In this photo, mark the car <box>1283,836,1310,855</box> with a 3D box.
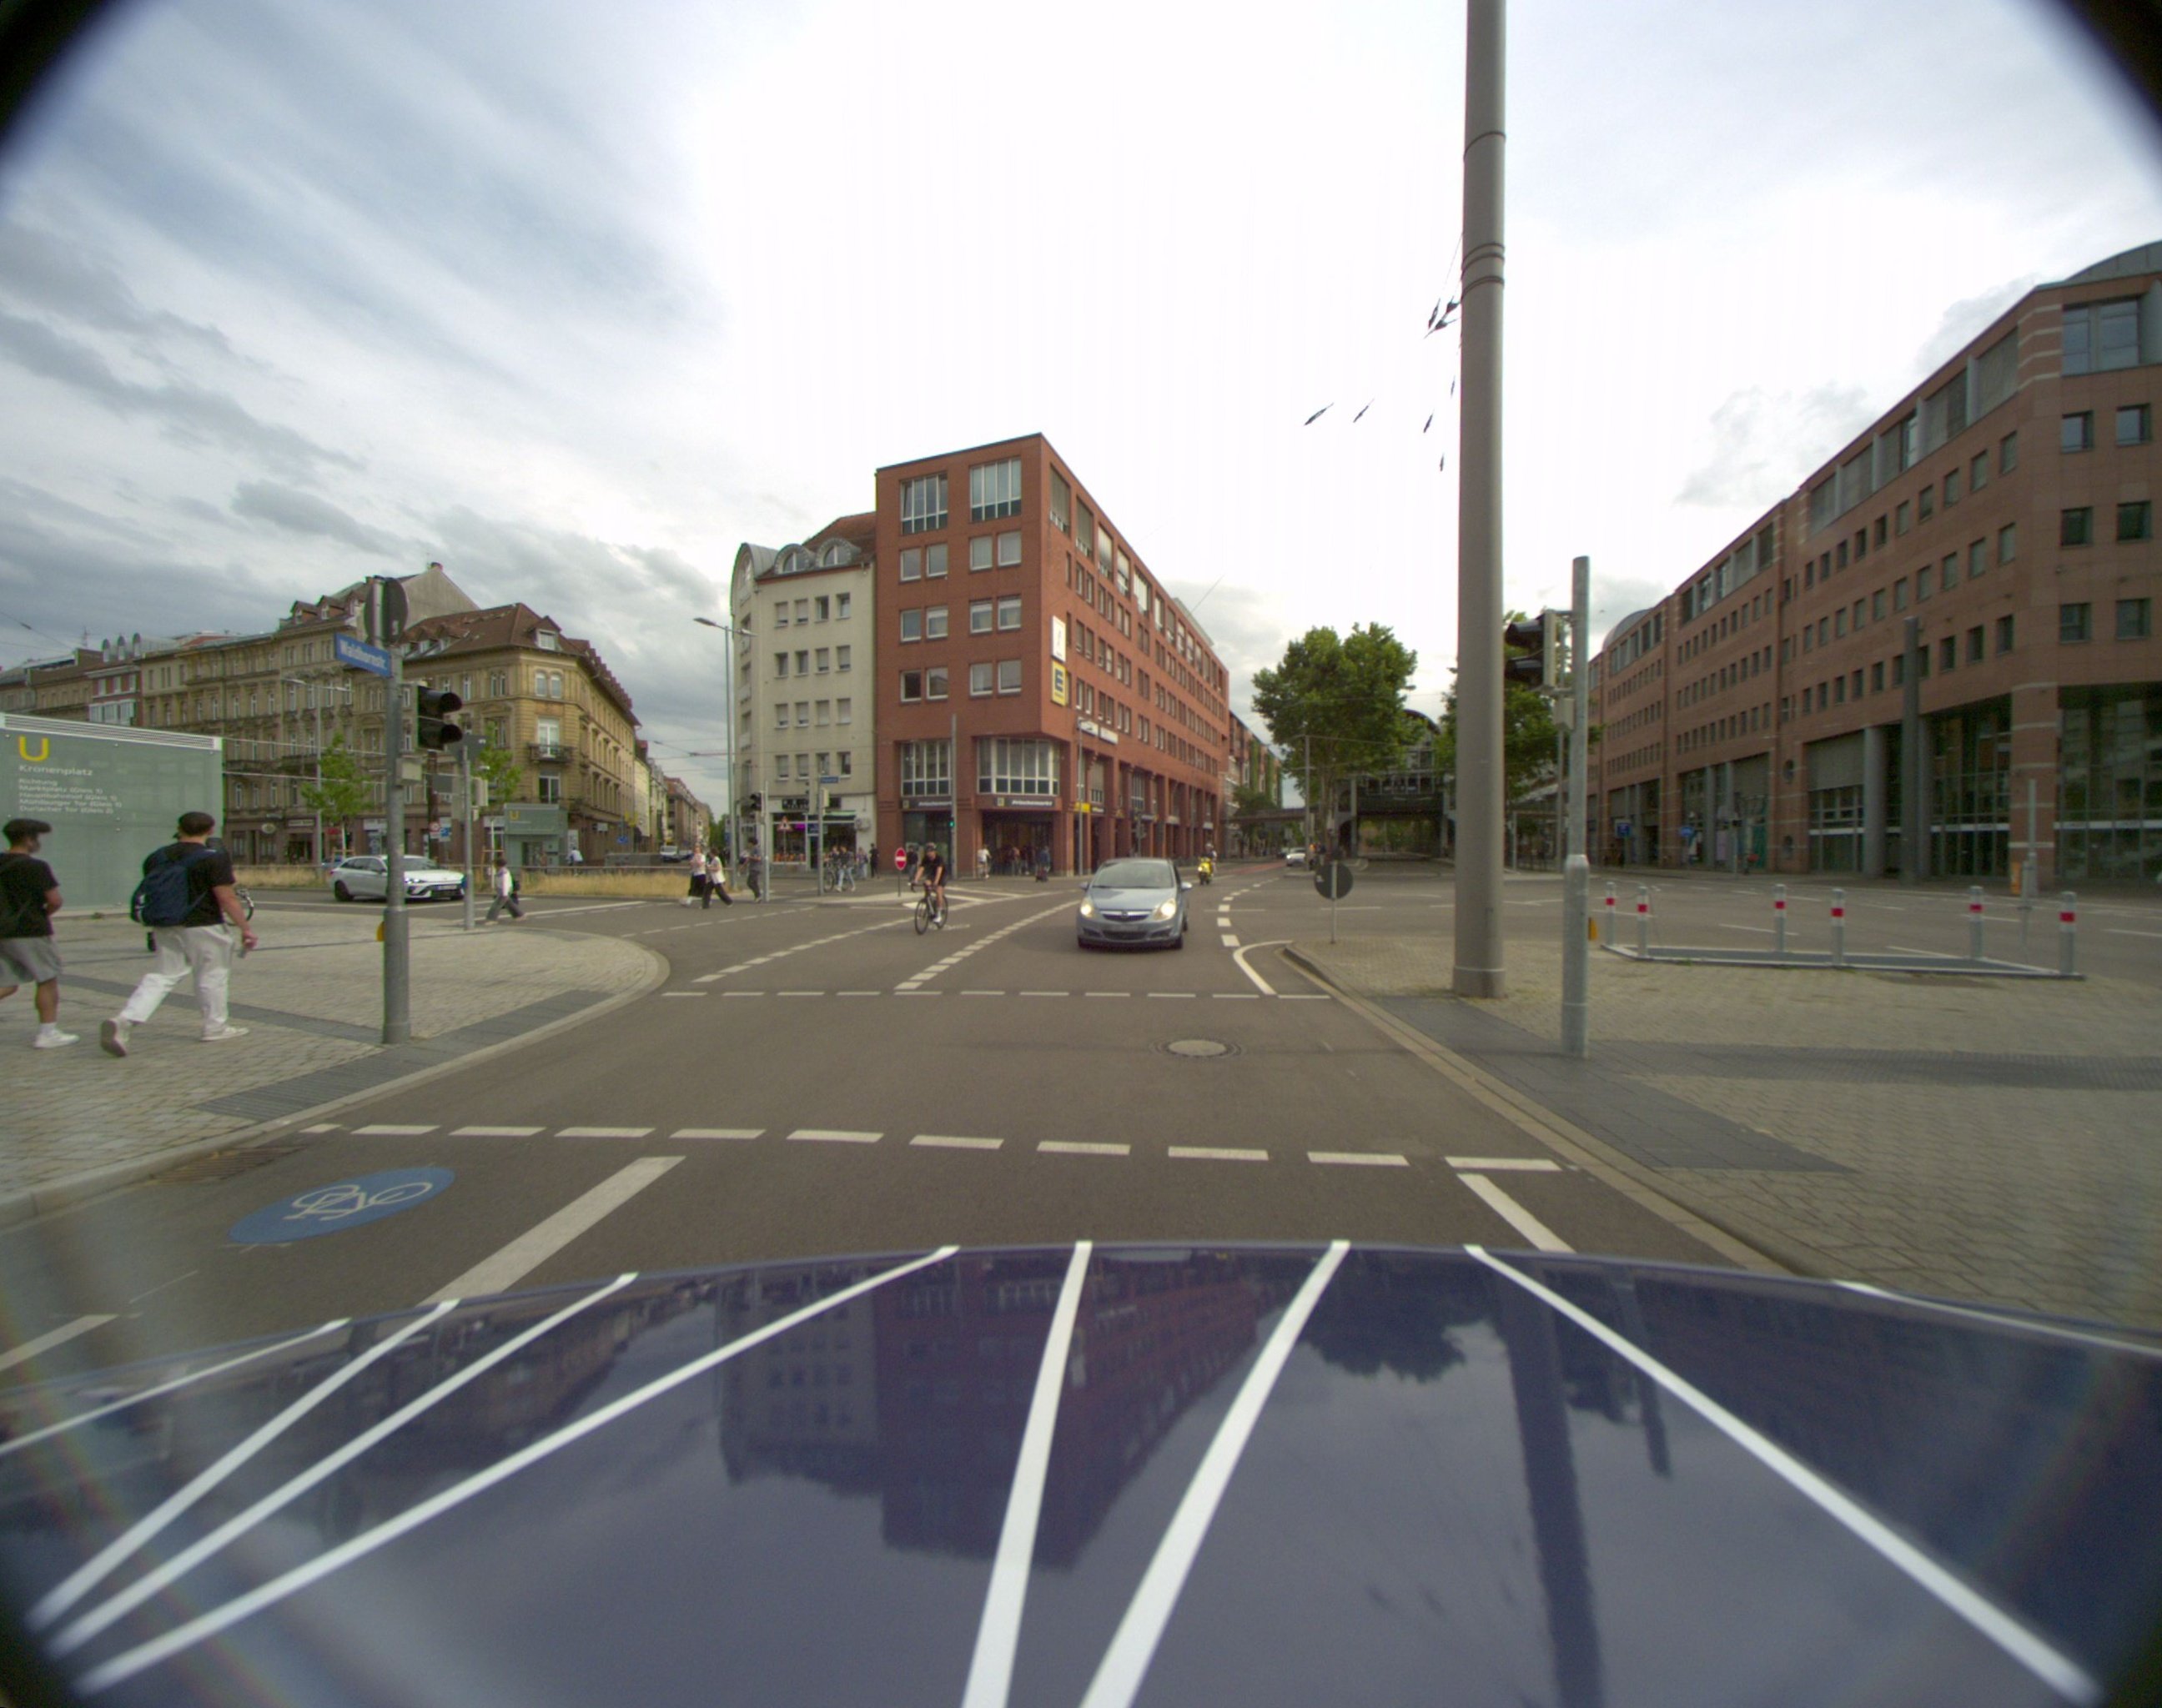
[{"bbox_3d":[19.710,-0.792,69.387,1.954,1.592,4.005,0,2,21],"label":"car"}]

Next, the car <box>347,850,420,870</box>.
[{"bbox_3d":[-46.510,0.355,50.693,4.144,1.259,1.840,0,2,20],"label":"car"}]

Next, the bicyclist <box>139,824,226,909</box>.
[{"bbox_3d":[-18.404,0.246,15.578,0.907,1.700,0.699,0,2,3],"label":"bicyclist"}]

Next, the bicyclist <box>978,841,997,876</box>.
[{"bbox_3d":[-4.718,0.220,38.408,0.641,1.700,0.863,0,2,16],"label":"bicyclist"}]

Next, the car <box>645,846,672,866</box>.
[{"bbox_3d":[-35.035,0.145,63.039,1.698,1.577,3.651,-1,1,-26],"label":"car"}]

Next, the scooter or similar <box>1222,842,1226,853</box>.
[{"bbox_3d":[15.832,-0.757,84.239,0.272,1.250,0.922,0,2,22],"label":"scooter or similar"}]

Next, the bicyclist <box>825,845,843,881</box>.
[{"bbox_3d":[-10.870,0.400,33.468,0.746,1.550,0.944,-1,1,-18],"label":"bicyclist"}]

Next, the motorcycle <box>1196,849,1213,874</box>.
[{"bbox_3d":[5.217,0.299,32.031,0.569,0.962,2.015,0,1,12],"label":"motorcycle"}]

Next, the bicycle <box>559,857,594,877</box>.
[{"bbox_3d":[-27.618,0.730,41.624,1.916,1.081,0.392,0,2,14],"label":"bicycle"}]

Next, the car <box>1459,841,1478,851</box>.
[{"bbox_3d":[54.898,-1.168,107.729,1.865,1.464,4.302,0,1,20],"label":"car"}]

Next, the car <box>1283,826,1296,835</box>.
[{"bbox_3d":[40.217,-4.570,146.767,1.954,1.592,4.005,0,2,21],"label":"car"}]

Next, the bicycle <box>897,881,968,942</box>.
[{"bbox_3d":[-2.795,1.064,14.472,0.488,0.995,1.750,0,1,20],"label":"bicycle"}]

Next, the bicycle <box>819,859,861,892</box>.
[{"bbox_3d":[-8.731,0.774,27.594,0.397,1.104,1.833,0,1,22],"label":"bicycle"}]

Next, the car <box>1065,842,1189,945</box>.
[{"bbox_3d":[0.949,0.567,13.231,1.722,1.395,4.001,-2,2,9],"label":"car"}]

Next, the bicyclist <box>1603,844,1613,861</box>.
[{"bbox_3d":[42.938,-0.112,61.917,0.551,1.373,0.739,0,2,22],"label":"bicyclist"}]

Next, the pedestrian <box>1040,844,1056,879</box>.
[{"bbox_3d":[-1.622,0.367,37.390,0.639,1.678,0.601,0,1,21],"label":"pedestrian"}]

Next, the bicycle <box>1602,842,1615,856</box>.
[{"bbox_3d":[42.945,-0.424,61.888,0.546,1.111,1.592,0,1,22],"label":"bicycle"}]

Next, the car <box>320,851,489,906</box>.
[{"bbox_3d":[-21.115,0.699,23.728,4.592,1.504,2.002,0,3,22],"label":"car"}]

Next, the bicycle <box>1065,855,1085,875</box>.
[{"bbox_3d":[-0.337,0.662,45.172,0.566,1.086,1.700,3,3,20],"label":"bicycle"}]

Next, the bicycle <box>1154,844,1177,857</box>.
[{"bbox_3d":[6.988,-0.301,62.823,1.856,1.035,0.508,0,2,21],"label":"bicycle"}]

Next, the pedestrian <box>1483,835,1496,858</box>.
[{"bbox_3d":[27.974,-0.524,52.049,0.657,1.530,0.559,0,4,17],"label":"pedestrian"}]

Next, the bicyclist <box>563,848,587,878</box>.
[{"bbox_3d":[-27.600,0.487,41.467,0.861,1.594,0.643,0,2,13],"label":"bicyclist"}]

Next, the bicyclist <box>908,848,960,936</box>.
[{"bbox_3d":[-2.795,0.694,14.472,0.612,1.594,0.848,2,3,20],"label":"bicyclist"}]

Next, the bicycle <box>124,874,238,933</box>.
[{"bbox_3d":[-18.452,1.002,15.590,1.918,1.115,0.391,2,2,1],"label":"bicycle"}]

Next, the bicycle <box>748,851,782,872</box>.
[{"bbox_3d":[-18.194,0.449,43.789,1.804,1.197,0.543,0,1,11],"label":"bicycle"}]

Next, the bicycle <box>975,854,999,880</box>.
[{"bbox_3d":[-4.741,0.650,38.475,0.390,1.116,2.078,2,4,18],"label":"bicycle"}]

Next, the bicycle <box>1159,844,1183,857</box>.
[{"bbox_3d":[7.505,-0.288,63.391,1.856,1.035,0.535,1,2,21],"label":"bicycle"}]

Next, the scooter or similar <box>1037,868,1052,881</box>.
[{"bbox_3d":[-1.746,0.997,36.673,0.507,0.570,0.816,0,2,14],"label":"scooter or similar"}]

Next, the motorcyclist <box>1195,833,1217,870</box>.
[{"bbox_3d":[5.278,-0.108,32.058,0.871,1.508,1.044,0,1,11],"label":"motorcyclist"}]

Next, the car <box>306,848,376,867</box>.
[{"bbox_3d":[-51.536,0.251,52.952,4.144,1.259,1.840,0,2,20],"label":"car"}]

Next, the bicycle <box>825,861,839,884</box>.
[{"bbox_3d":[-10.973,0.805,33.468,0.543,0.945,1.804,-1,1,-18],"label":"bicycle"}]

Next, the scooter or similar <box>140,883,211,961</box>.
[{"bbox_3d":[-14.045,1.031,11.786,0.700,1.104,0.610,2,2,33],"label":"scooter or similar"}]
